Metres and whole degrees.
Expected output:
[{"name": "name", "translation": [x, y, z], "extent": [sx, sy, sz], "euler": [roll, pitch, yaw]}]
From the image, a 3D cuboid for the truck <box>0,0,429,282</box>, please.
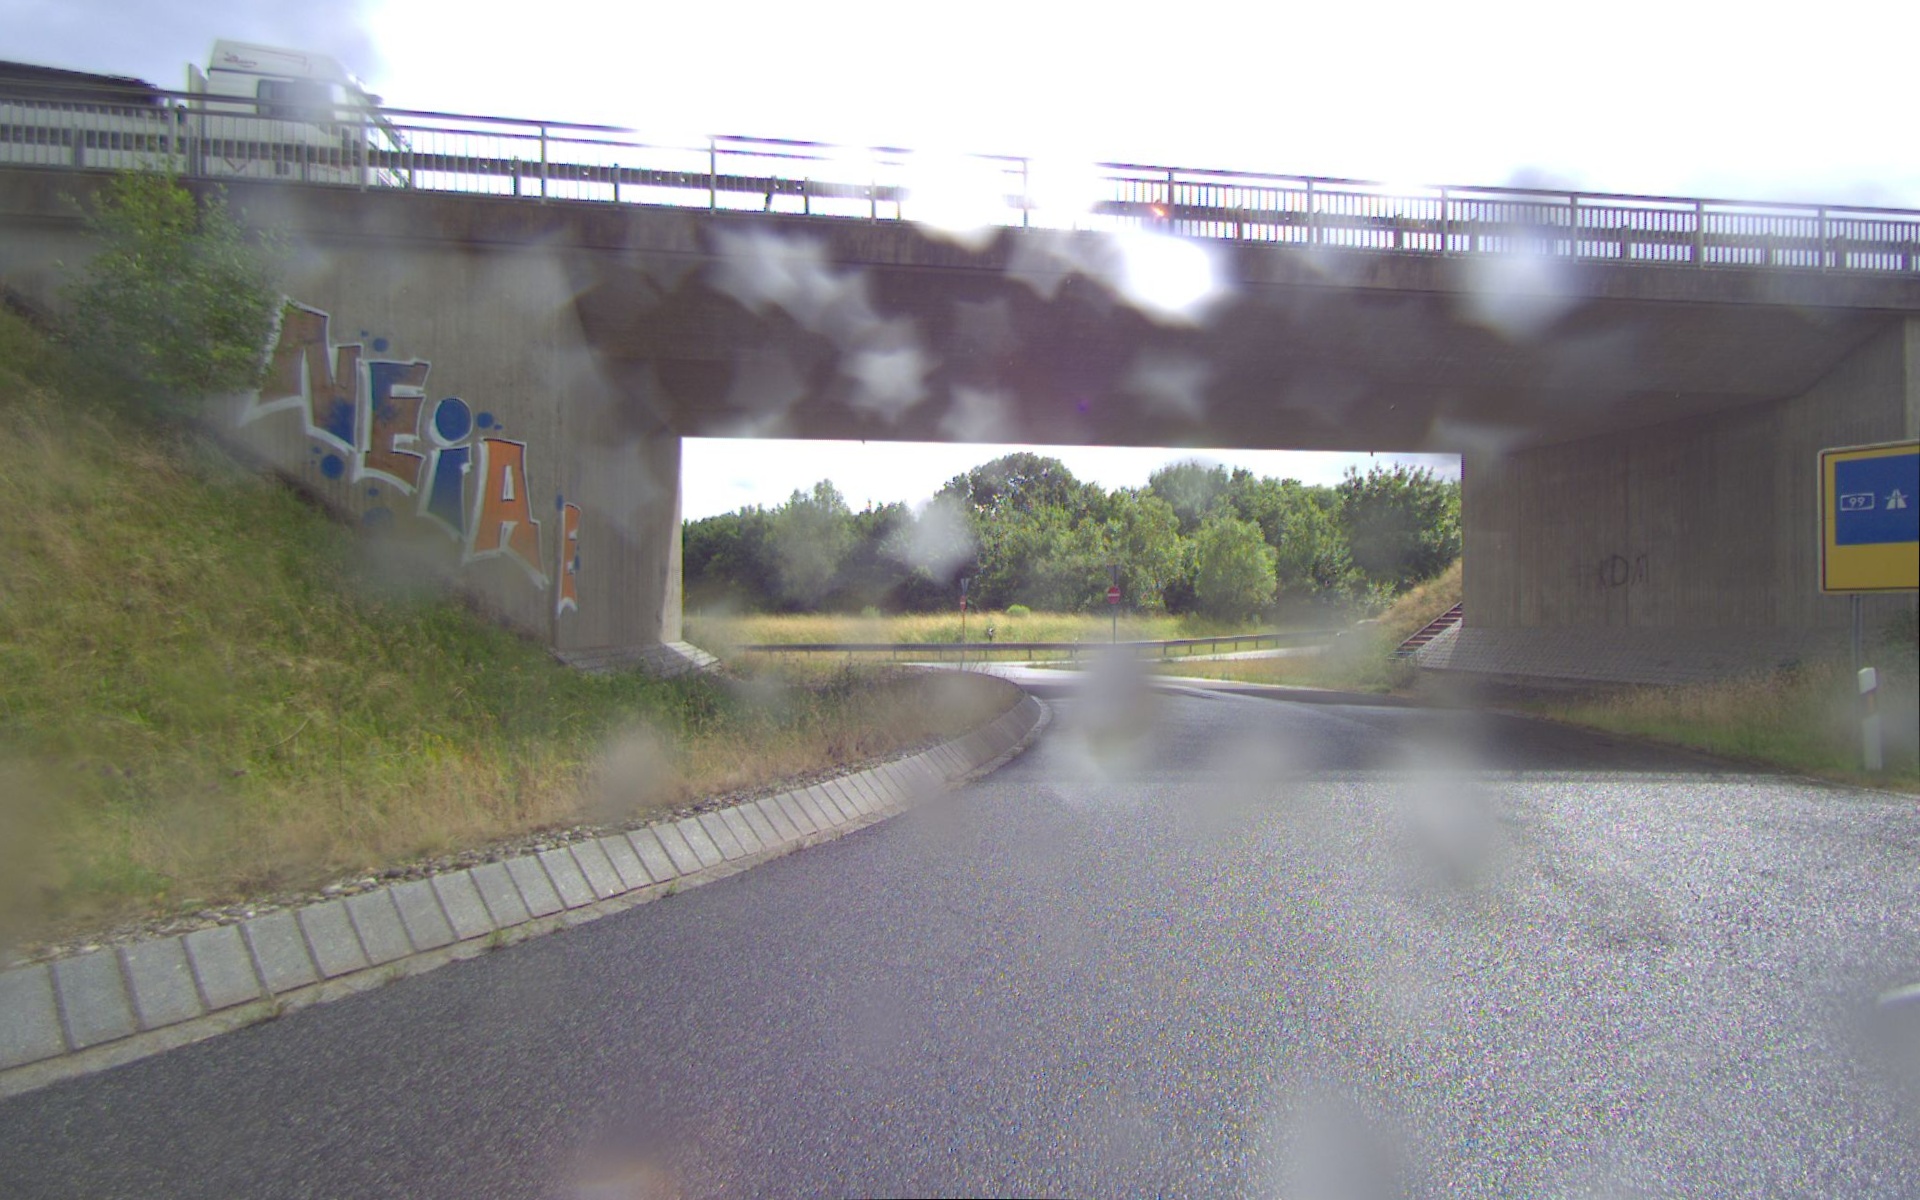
[{"name": "truck", "translation": [-14.174, -7.031, 15.146], "extent": [10.636, 2.912, 2.202], "euler": [1, 0, -12]}]
